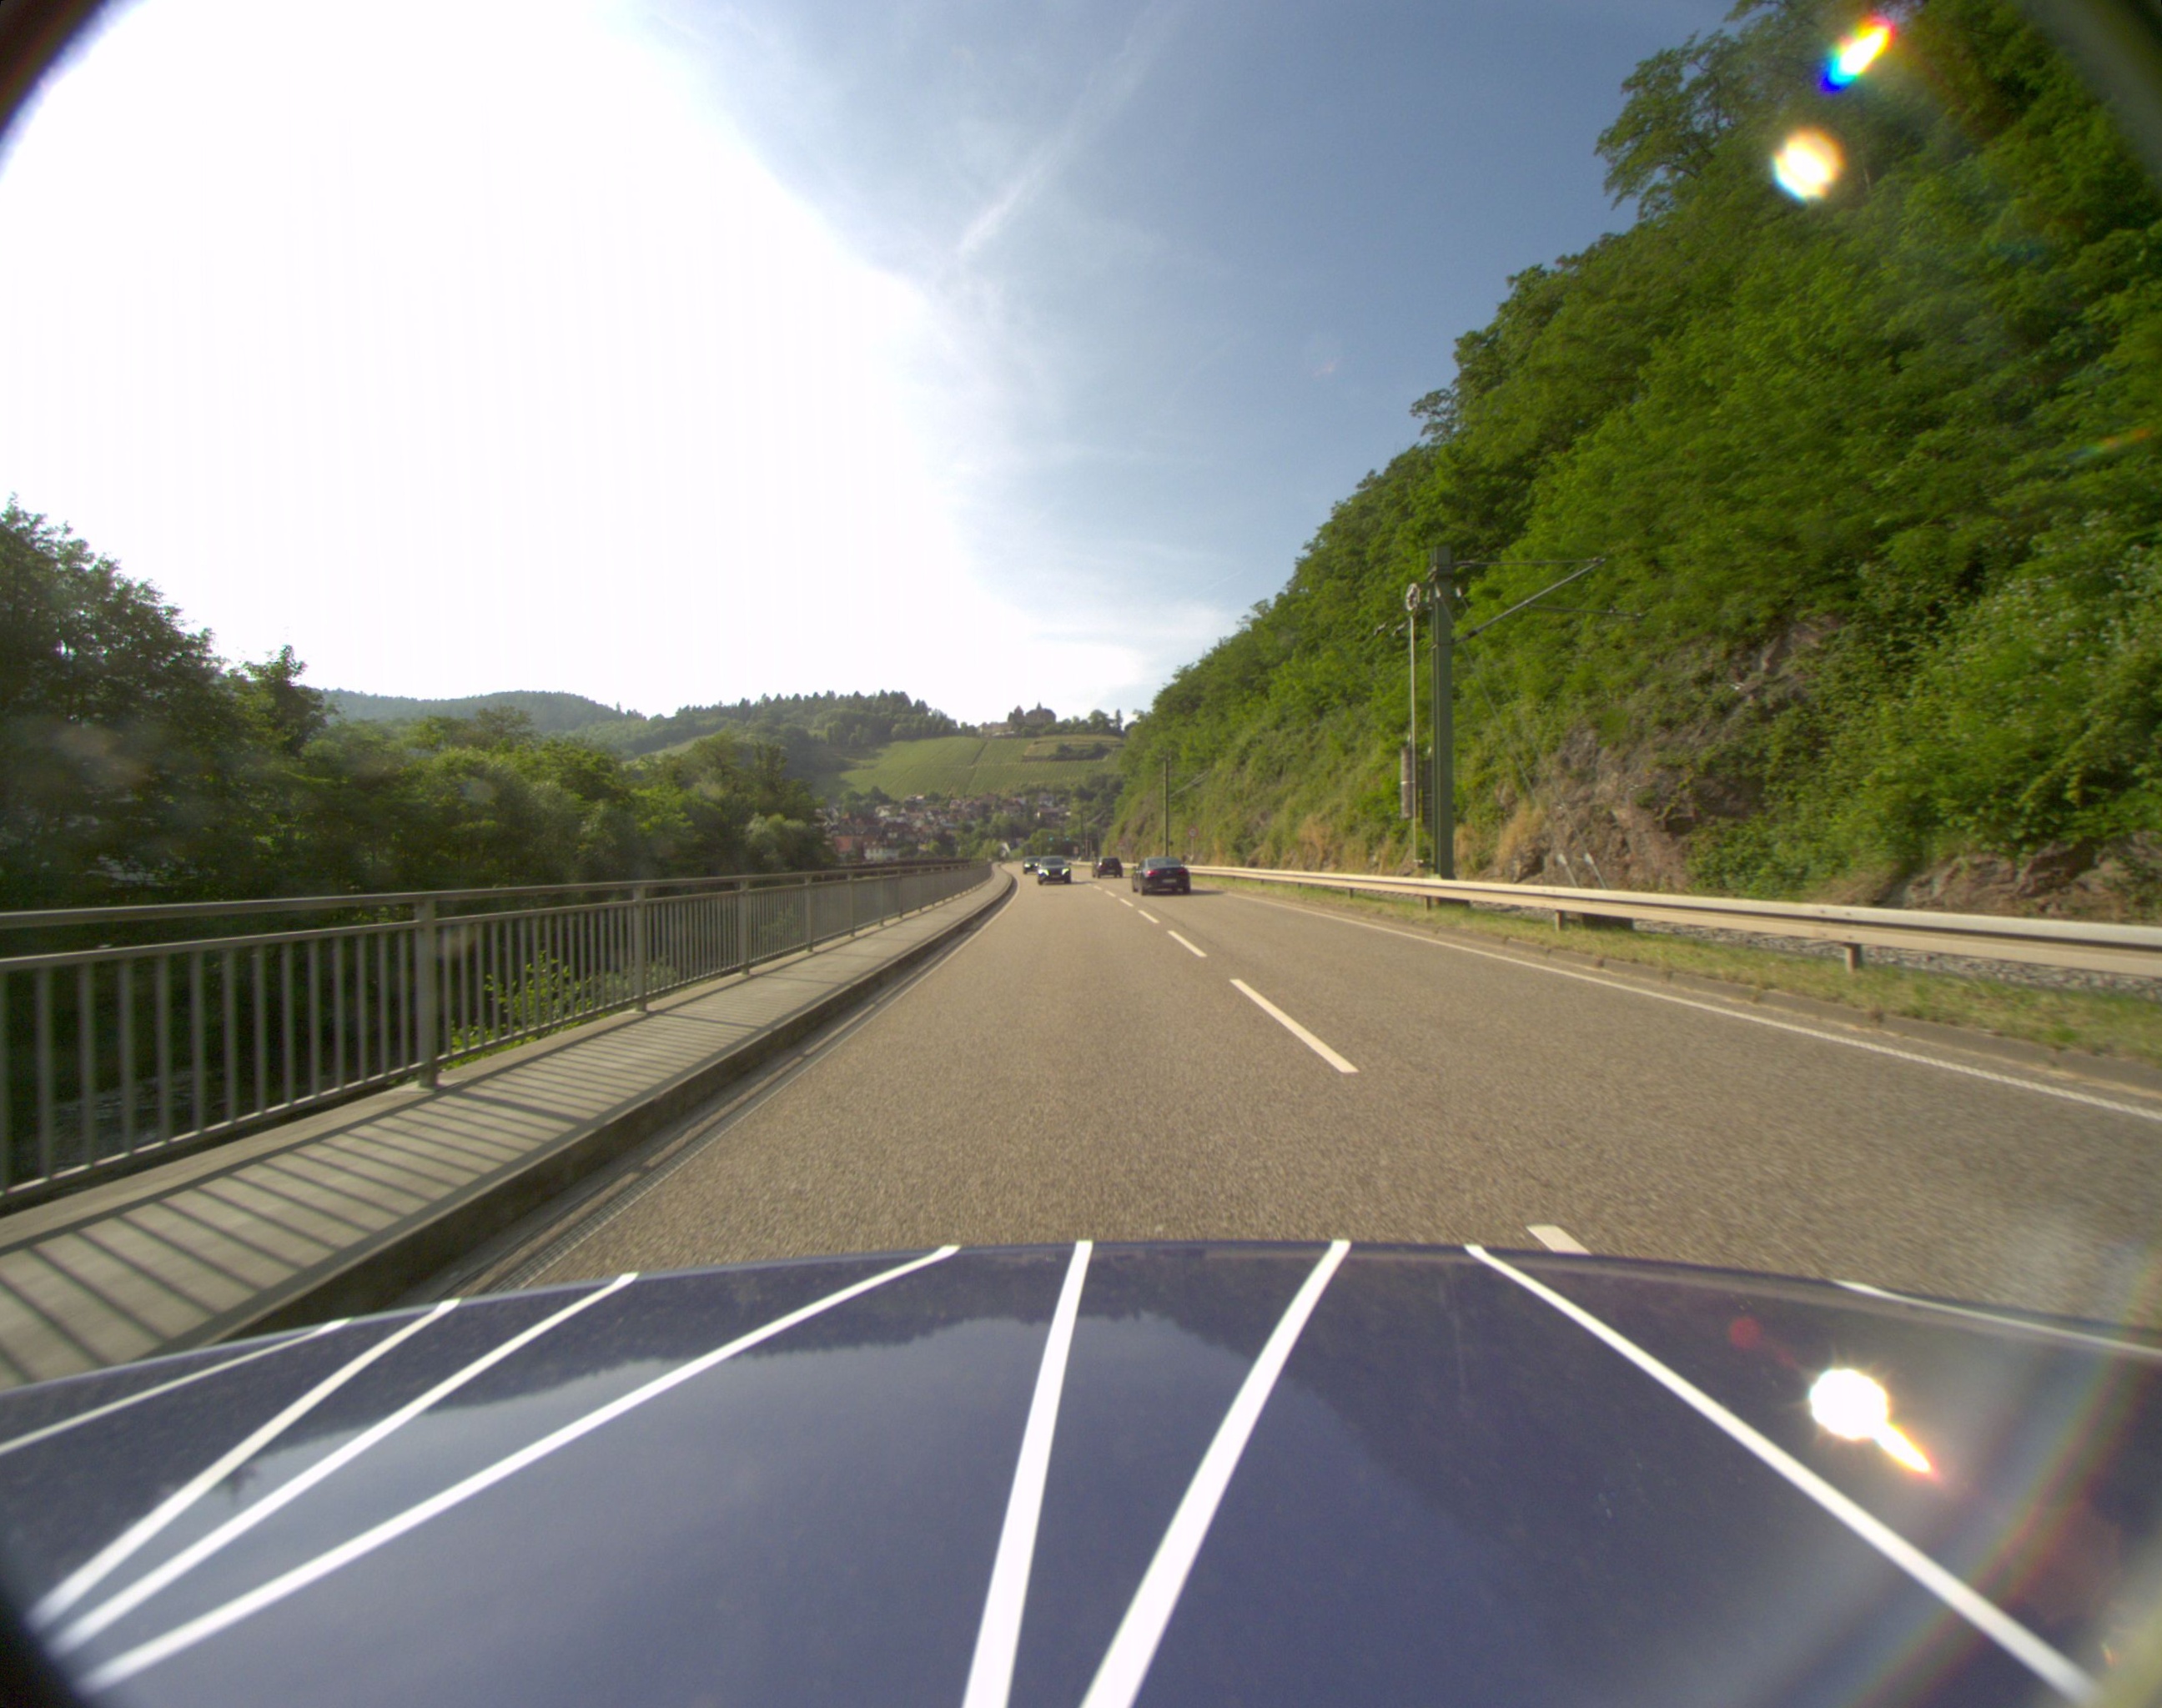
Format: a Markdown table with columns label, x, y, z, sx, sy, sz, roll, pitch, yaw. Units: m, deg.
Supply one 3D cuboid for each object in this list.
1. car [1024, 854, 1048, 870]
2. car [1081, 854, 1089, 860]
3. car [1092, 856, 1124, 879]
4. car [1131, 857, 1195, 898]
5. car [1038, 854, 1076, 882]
| label | x | y | z | sx | sy | sz | roll | pitch | yaw |
| --- | --- | --- | --- | --- | --- | --- | --- | --- | --- |
| car | -4.274 | 0.787 | 71.279 | 2.000 | 1.384 | 3.998 | -1 | -1 | -7 |
| car | 1.134 | 0.856 | 215.942 | 2.068 | 1.431 | 4.687 | 0 | 0 | 2 |
| car | 1.826 | 0.923 | 52.556 | 1.852 | 1.432 | 3.896 | -2 | 0 | -3 |
| car | 3.055 | 0.860 | 29.327 | 1.852 | 1.393 | 4.476 | -2 | 0 | -1 |
| car | -1.452 | 0.819 | 44.714 | 1.864 | 1.576 | 3.998 | -1 | -1 | -7 |
